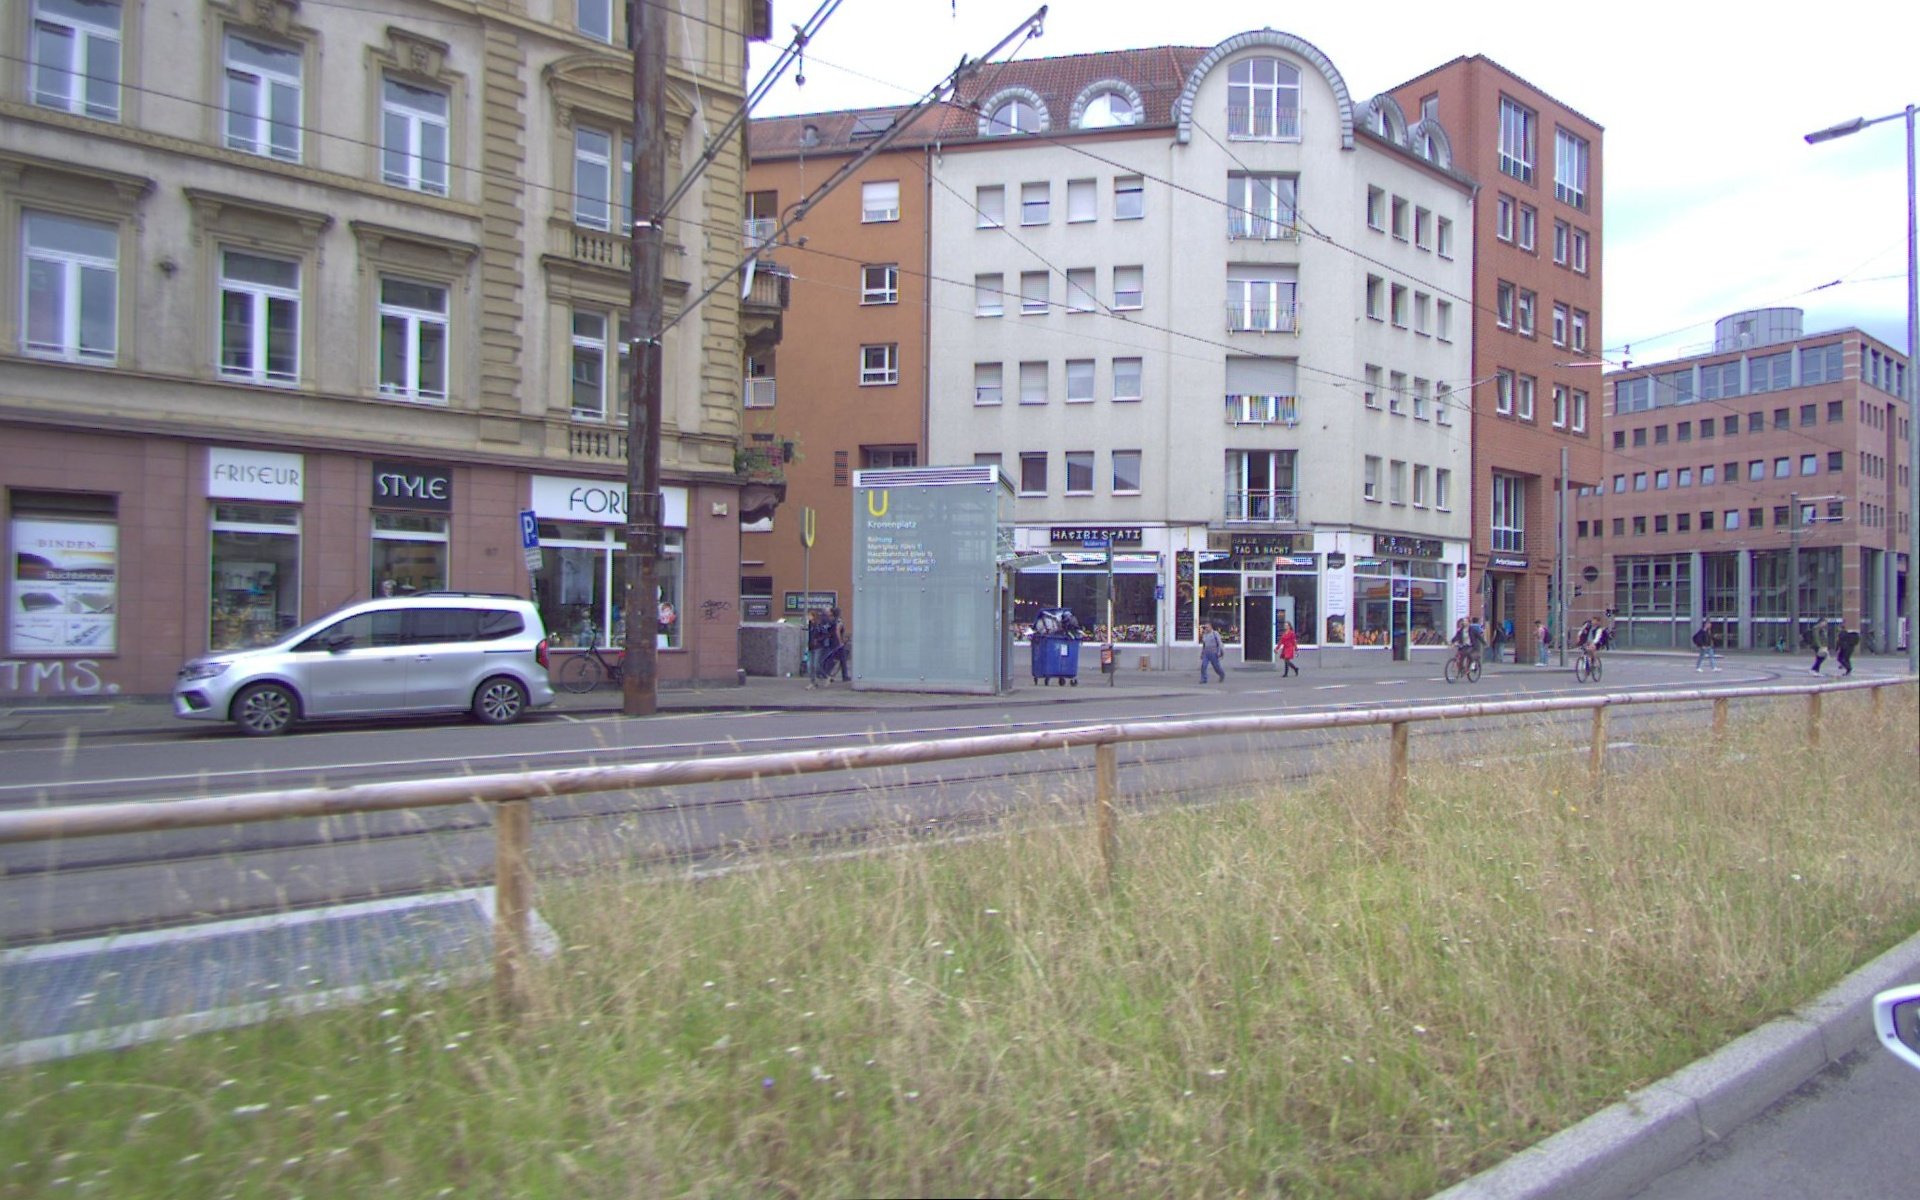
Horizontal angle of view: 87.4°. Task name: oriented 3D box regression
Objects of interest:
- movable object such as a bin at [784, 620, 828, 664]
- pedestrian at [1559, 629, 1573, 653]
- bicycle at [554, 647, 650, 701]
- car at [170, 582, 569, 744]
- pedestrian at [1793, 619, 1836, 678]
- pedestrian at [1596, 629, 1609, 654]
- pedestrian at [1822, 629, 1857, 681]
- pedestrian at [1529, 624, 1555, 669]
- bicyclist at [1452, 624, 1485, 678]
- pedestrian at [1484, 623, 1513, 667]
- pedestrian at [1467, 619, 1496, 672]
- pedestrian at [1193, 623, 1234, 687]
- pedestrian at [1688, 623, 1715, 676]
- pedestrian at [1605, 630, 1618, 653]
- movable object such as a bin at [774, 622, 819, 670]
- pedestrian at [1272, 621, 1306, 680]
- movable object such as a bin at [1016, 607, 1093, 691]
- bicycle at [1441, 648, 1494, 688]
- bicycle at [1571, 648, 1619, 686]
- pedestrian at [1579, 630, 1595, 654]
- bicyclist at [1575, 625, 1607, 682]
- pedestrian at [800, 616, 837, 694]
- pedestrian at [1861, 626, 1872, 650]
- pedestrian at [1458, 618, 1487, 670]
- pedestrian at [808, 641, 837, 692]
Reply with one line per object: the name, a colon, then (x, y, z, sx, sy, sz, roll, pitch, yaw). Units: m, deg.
movable object such as a bin: (-5.200, 1.401, 33.976, 1.214, 1.424, 1.011, 1, 0, 7)
pedestrian: (40.481, 2.746, 67.086, 0.625, 1.595, 0.567, 3, -1, -42)
bicycle: (-6.722, 1.372, 18.889, 1.666, 0.972, 0.338, 2, 0, -28)
car: (-7.979, 0.826, 13.876, 4.477, 1.889, 1.890, 2, -3, -36)
pedestrian: (28.607, 1.629, 33.618, 0.792, 1.915, 0.890, 2, 0, -36)
pedestrian: (44.977, 2.883, 70.310, 0.731, 1.710, 0.573, 2, -1, 34)
pedestrian: (30.150, 1.874, 34.426, 0.792, 1.706, 0.738, 3, 0, -38)
pedestrian: (22.213, 1.775, 38.347, 0.792, 1.706, 0.564, 3, 0, -39)
bicyclist: (13.639, 1.367, 26.936, 0.804, 1.425, 0.476, 1, -2, -36)
pedestrian: (21.727, 1.806, 40.559, 0.792, 1.706, 0.738, 3, 0, -38)
pedestrian: (16.867, 1.474, 32.479, 0.653, 1.709, 0.719, 0, -3, 43)
pedestrian: (6.896, 1.486, 27.368, 0.811, 1.709, 0.721, 2, -2, -14)
pedestrian: (27.253, 1.820, 36.913, 0.792, 1.914, 0.606, 3, -2, -36)
pedestrian: (46.081, 2.931, 71.050, 0.732, 1.581, 0.572, 2, -1, 35)
movable object such as a bin: (-5.357, 1.496, 32.981, 1.214, 1.521, 0.947, 1, 0, 7)
pedestrian: (9.795, 1.494, 29.899, 0.658, 1.709, 0.713, 3, -3, -44)
movable object such as a bin: (2.367, 1.235, 25.203, 1.597, 2.007, 1.027, 3, -2, -28)
bicycle: (13.620, 1.814, 26.935, 1.894, 1.034, 0.476, 2, -2, -36)
bicycle: (17.727, 1.856, 28.038, 1.893, 1.034, 0.473, 2, -2, -36)
pedestrian: (42.010, 2.834, 67.275, 0.735, 1.581, 0.570, 3, -1, -29)
bicyclist: (17.525, 1.476, 27.911, 0.804, 1.561, 0.488, 1, -2, -36)
pedestrian: (-2.929, 1.137, 20.766, 0.647, 1.577, 0.553, 1, 0, -17)
pedestrian: (59.430, 2.508, 65.853, 0.443, 1.552, 0.520, 1, 0, 38)
pedestrian: (17.162, 1.481, 33.614, 0.718, 1.709, 0.654, 3, -3, -43)
pedestrian: (-2.929, 1.404, 21.388, 0.447, 1.044, 0.552, 1, 0, -26)
